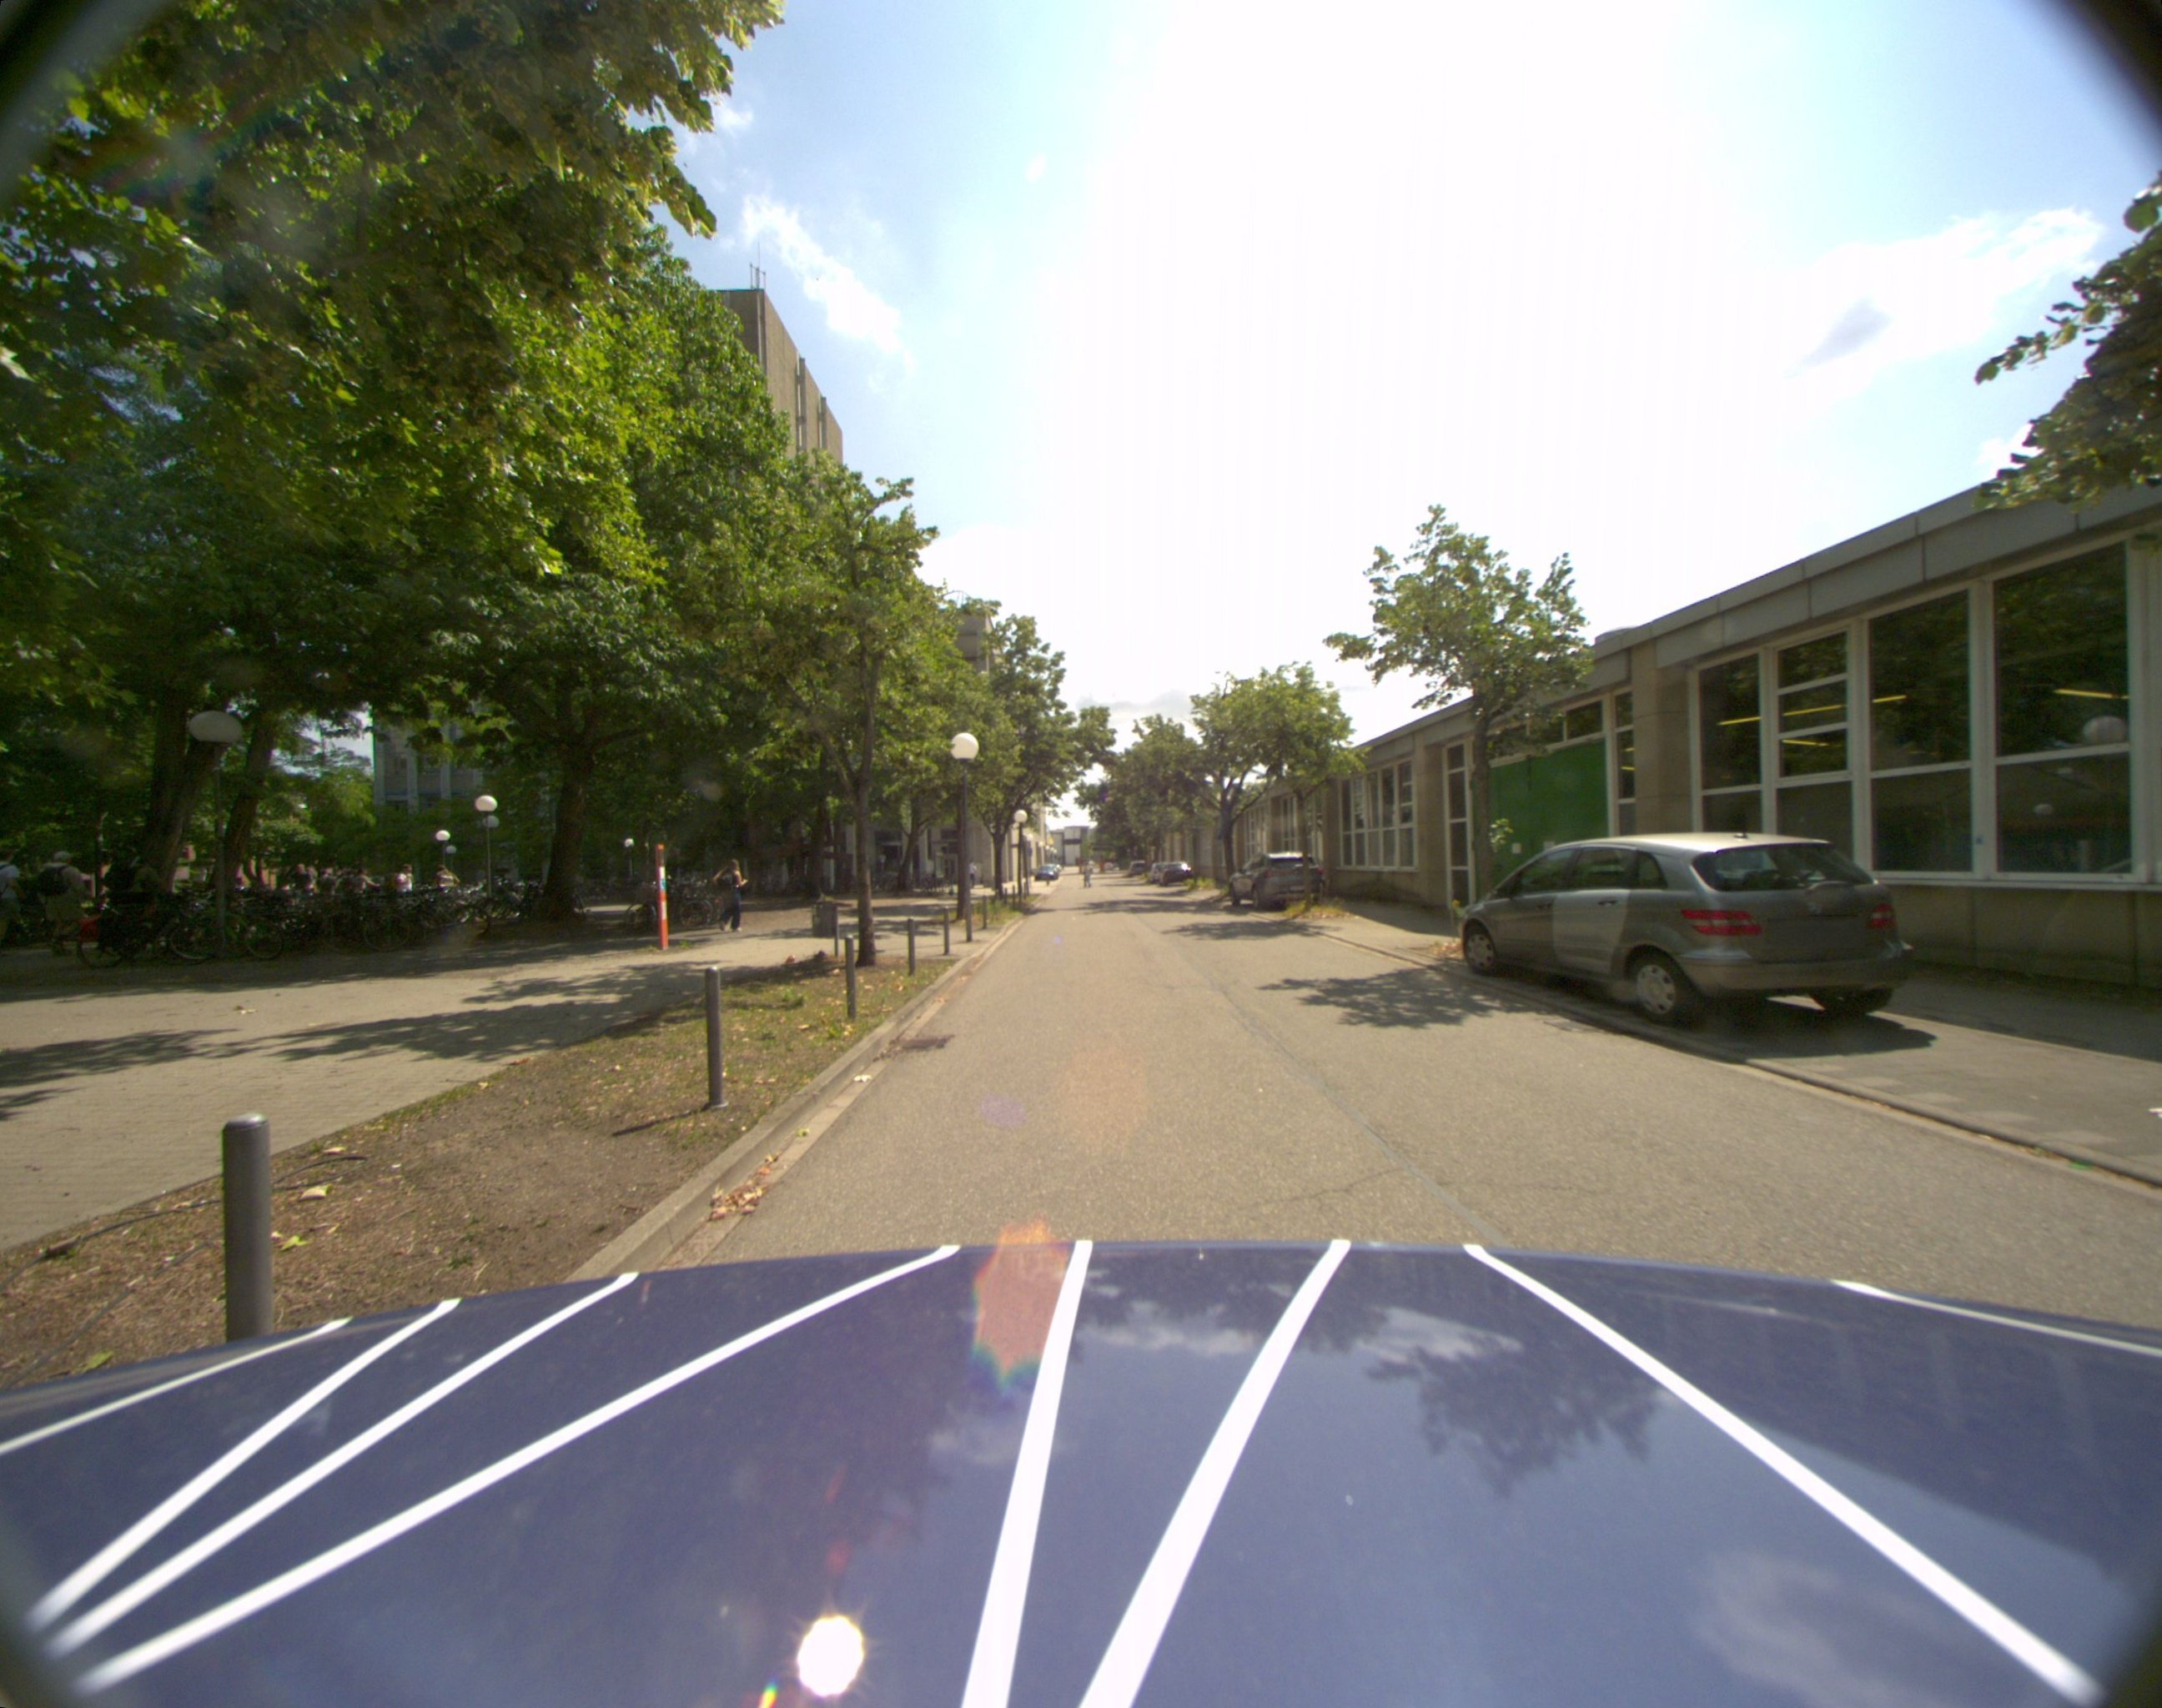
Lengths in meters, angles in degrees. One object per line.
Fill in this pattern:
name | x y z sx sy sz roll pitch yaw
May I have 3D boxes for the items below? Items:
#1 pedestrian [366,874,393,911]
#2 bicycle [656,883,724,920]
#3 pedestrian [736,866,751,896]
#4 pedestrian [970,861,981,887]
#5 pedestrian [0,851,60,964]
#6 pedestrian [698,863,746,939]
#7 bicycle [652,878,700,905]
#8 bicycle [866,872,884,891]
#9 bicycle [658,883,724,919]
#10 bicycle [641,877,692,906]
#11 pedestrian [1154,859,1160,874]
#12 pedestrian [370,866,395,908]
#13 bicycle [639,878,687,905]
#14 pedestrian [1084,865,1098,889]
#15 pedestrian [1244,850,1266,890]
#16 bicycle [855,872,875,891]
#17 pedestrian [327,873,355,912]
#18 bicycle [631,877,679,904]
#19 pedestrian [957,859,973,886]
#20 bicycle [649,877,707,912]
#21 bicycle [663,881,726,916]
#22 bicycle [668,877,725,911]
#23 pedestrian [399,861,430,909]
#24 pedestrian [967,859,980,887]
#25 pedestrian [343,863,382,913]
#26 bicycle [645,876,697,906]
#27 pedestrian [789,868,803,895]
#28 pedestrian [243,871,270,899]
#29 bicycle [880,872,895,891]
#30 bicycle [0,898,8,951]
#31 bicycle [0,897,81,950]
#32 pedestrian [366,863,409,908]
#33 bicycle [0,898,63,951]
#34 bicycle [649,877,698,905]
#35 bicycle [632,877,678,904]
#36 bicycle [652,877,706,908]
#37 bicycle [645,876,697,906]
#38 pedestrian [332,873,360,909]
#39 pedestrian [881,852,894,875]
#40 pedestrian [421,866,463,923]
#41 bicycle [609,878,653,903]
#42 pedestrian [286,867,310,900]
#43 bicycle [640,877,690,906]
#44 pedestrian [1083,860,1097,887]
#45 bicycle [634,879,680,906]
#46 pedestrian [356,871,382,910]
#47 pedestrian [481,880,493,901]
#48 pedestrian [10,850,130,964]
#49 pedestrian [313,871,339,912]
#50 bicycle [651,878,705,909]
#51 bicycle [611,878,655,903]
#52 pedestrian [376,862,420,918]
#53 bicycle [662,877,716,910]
pedestrian | -34.305 1.877 37.156 0.719 1.764 0.746 -2 -1 26
bicycle | -11.823 1.424 23.004 1.800 1.022 0.439 -1 -1 -32
pedestrian | -19.598 1.562 44.121 0.428 1.693 0.944 -3 -1 -4
pedestrian | -7.206 1.380 52.006 0.614 1.719 0.542 -2 0 1
pedestrian | -19.044 0.927 13.361 0.836 1.937 1.077 0 0 -20
pedestrian | -7.726 0.985 16.387 0.570 1.562 0.927 -1 1 1
bicycle | -18.097 1.670 33.996 1.849 1.163 0.387 -1 -1 -37
bicycle | -11.920 1.598 44.024 0.481 1.079 1.516 0 -2 5
bicycle | -12.219 1.461 23.824 1.796 1.022 0.381 -1 -1 -32
bicycle | -17.621 1.592 32.330 1.849 1.163 0.352 -1 -1 -37
pedestrian | 8.062 1.308 80.696 0.605 1.571 0.551 0 -1 -2
pedestrian | -29.995 1.405 32.626 0.746 1.764 0.719 -1 -1 -40
bicycle | -19.043 1.704 34.617 1.849 1.163 0.412 -1 -1 -39
pedestrian | 0.659 1.502 49.067 0.797 1.532 0.664 -2 0 -2
pedestrian | 7.971 0.723 34.787 0.790 1.776 0.670 -3 -1 3
bicycle | -12.414 1.582 43.739 0.481 1.079 1.698 0 -2 5
pedestrian | -34.897 1.811 35.831 0.719 1.764 0.746 -2 -1 26
bicycle | -19.630 1.669 35.017 1.849 1.163 0.412 -1 -1 -39
pedestrian | -7.966 1.273 52.046 0.811 1.786 0.618 -2 0 -43
bicycle | -14.402 1.431 27.187 1.796 1.163 0.402 -1 -1 -34
bicycle | -12.736 1.439 25.044 1.796 1.063 0.425 -1 -1 -30
bicycle | -14.093 1.454 27.882 1.796 1.163 0.402 -1 -1 -34
pedestrian | -25.393 1.167 28.952 0.746 1.764 0.719 -1 -1 -31
pedestrian | -7.206 1.267 50.966 0.687 1.880 0.686 -3 1 -3
pedestrian | -26.131 1.231 27.645 0.745 1.764 0.720 -1 -1 -8
bicycle | -16.924 1.525 31.398 1.849 1.163 0.352 -1 -1 -37
pedestrian | -18.669 1.773 49.783 0.749 1.730 0.936 -2 0 -16
pedestrian | -46.788 1.731 43.121 0.720 1.560 0.745 -2 -1 8
bicycle | -11.160 1.583 43.900 0.460 1.079 1.474 0 -2 1
bicycle | -21.965 1.388 14.442 1.834 1.033 0.478 0 0 -21
bicycle | -22.103 1.435 15.685 1.755 1.033 0.478 0 0 -21
pedestrian | -27.706 1.251 30.382 0.964 1.764 0.971 -1 -1 -22
bicycle | -21.975 1.429 15.348 1.755 1.033 0.347 0 0 -21
bicycle | -18.013 1.620 33.581 1.849 1.163 0.352 -1 -1 -37
bicycle | -20.215 1.722 36.076 1.849 1.163 0.412 -1 -1 -39
bicycle | -16.019 1.525 30.316 1.849 1.163 0.344 -1 -1 -37
bicycle | -17.114 1.529 31.722 1.849 1.163 0.352 -1 -1 -37
pedestrian | -36.166 1.824 37.391 0.719 1.764 0.746 -2 -1 26
pedestrian | -15.488 0.741 60.849 0.618 1.786 0.811 -1 0 32
pedestrian | -20.398 1.283 24.261 0.743 1.764 0.722 -2 -1 20
bicycle | -22.522 1.816 38.064 1.849 1.163 0.345 -1 -1 -45
pedestrian | -36.112 1.346 35.047 0.693 1.502 0.513 2 -1 -43
bicycle | -17.835 1.595 32.616 1.849 1.163 0.352 -1 -1 -37
pedestrian | 0.606 1.250 49.793 0.797 1.718 0.601 -2 0 -2
bicycle | -19.899 1.788 35.692 1.849 1.163 0.412 -1 -1 -39
pedestrian | -33.059 1.677 35.279 0.719 1.764 0.746 -2 -1 38
pedestrian | -35.701 2.184 45.691 0.402 1.205 0.387 -2 -1 8
pedestrian | -18.147 0.919 13.672 0.836 1.937 1.077 0 0 -20
pedestrian | -33.621 1.669 33.834 0.719 1.764 0.746 -2 -1 38
bicycle | -16.222 1.594 30.595 1.849 1.163 0.344 -1 -1 -37
bicycle | -22.646 1.836 38.430 1.849 1.163 0.345 -1 -1 -45
pedestrian | -21.974 1.160 24.461 0.745 1.764 0.720 -1 -1 -8
bicycle | -15.166 1.513 29.448 0.344 1.163 1.849 -2 -1 43
